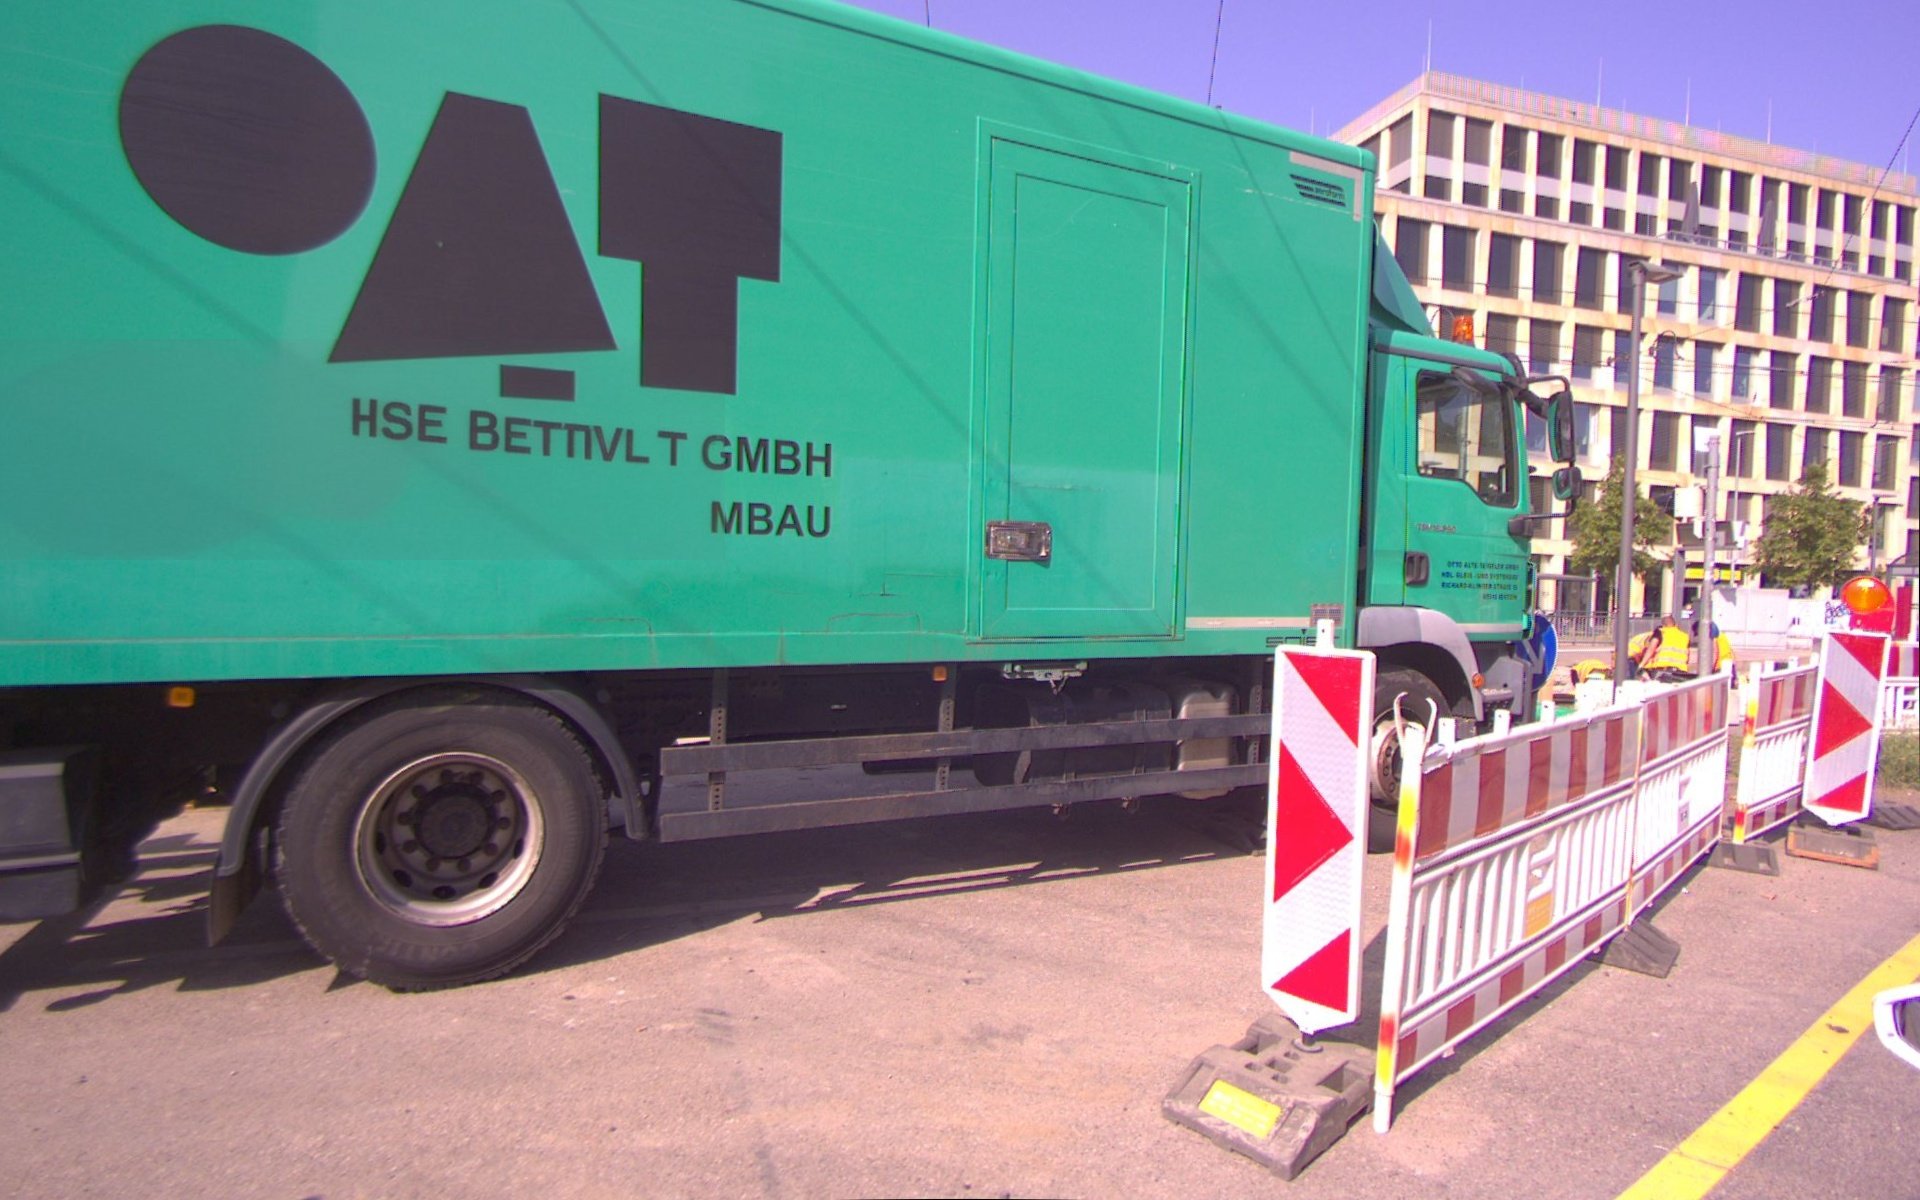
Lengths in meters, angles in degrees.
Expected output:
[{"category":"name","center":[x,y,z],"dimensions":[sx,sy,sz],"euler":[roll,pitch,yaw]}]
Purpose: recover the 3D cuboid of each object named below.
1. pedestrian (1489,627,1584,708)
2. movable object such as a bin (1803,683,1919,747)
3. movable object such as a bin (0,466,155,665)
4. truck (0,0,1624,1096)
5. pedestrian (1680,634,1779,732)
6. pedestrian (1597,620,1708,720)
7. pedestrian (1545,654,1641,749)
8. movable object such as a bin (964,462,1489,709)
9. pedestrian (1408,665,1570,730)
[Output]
[{"category":"pedestrian","center":[10.074,1.160,17.580],"dimensions":[0.966,1.324,1.015],"euler":[1,1,-13]},{"category":"movable object such as a bin","center":[12.307,1.535,13.529],"dimensions":[0.687,0.661,1.511],"euler":[2,1,5]},{"category":"movable object such as a bin","center":[-19.739,-0.728,17.619],"dimensions":[8.207,3.374,2.846],"euler":[2,1,-15]},{"category":"truck","center":[-0.418,-0.454,5.282],"dimensions":[8.104,3.728,2.665],"euler":[1,1,-26]},{"category":"pedestrian","center":[11.135,1.181,14.571],"dimensions":[0.782,1.324,0.840],"euler":[2,1,8]},{"category":"pedestrian","center":[10.038,0.979,14.617],"dimensions":[0.782,1.324,1.317],"euler":[2,1,8]},{"category":"pedestrian","center":[8.962,1.421,14.265],"dimensions":[0.782,1.206,0.986],"euler":[2,1,8]},{"category":"movable object such as a bin","center":[4.747,-0.330,19.365],"dimensions":[8.857,4.067,3.517],"euler":[2,1,7]},{"category":"pedestrian","center":[7.019,1.277,13.460],"dimensions":[0.896,0.644,1.903],"euler":[2,1,-12]}]
